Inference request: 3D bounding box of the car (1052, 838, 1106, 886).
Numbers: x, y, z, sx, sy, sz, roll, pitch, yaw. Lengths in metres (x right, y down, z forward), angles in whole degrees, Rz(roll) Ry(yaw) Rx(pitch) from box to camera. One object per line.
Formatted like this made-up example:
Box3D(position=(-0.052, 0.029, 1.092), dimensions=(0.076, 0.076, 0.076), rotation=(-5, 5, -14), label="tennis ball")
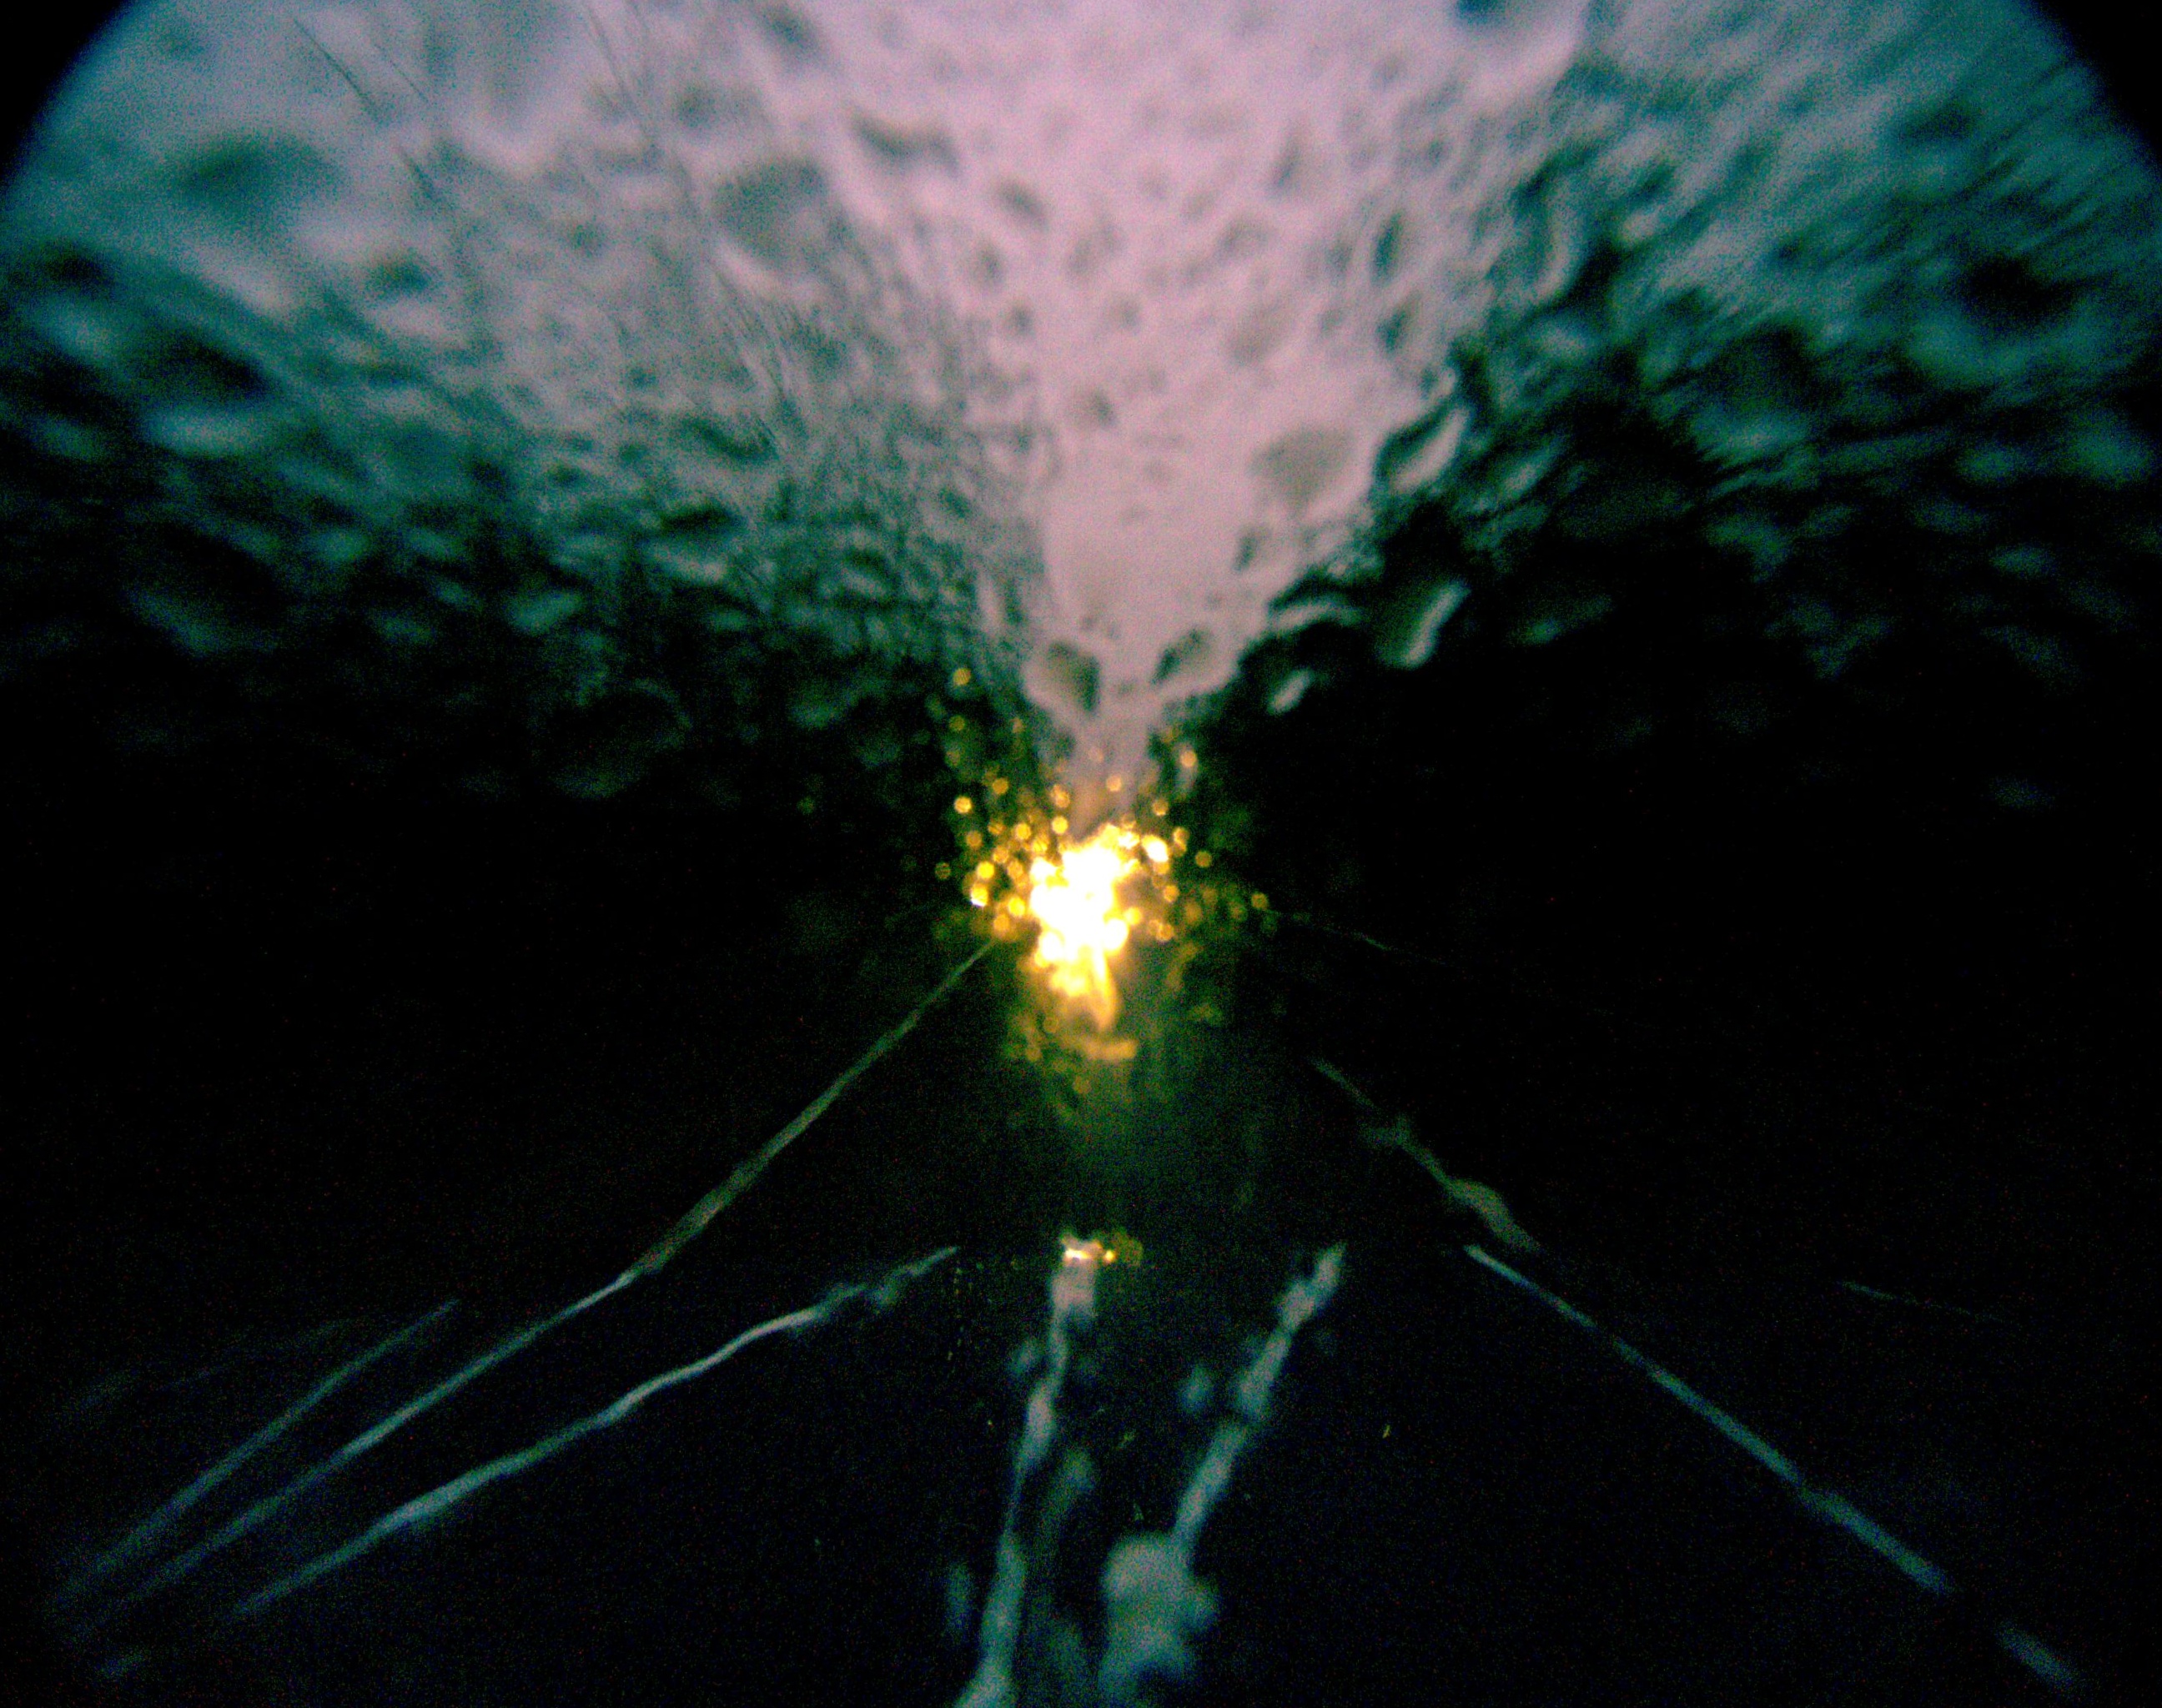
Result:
Box3D(position=(-0.012, 0.361, 39.735), dimensions=(2.542, 2.213, 6.169), rotation=(-2, 1, 2), label="car")
